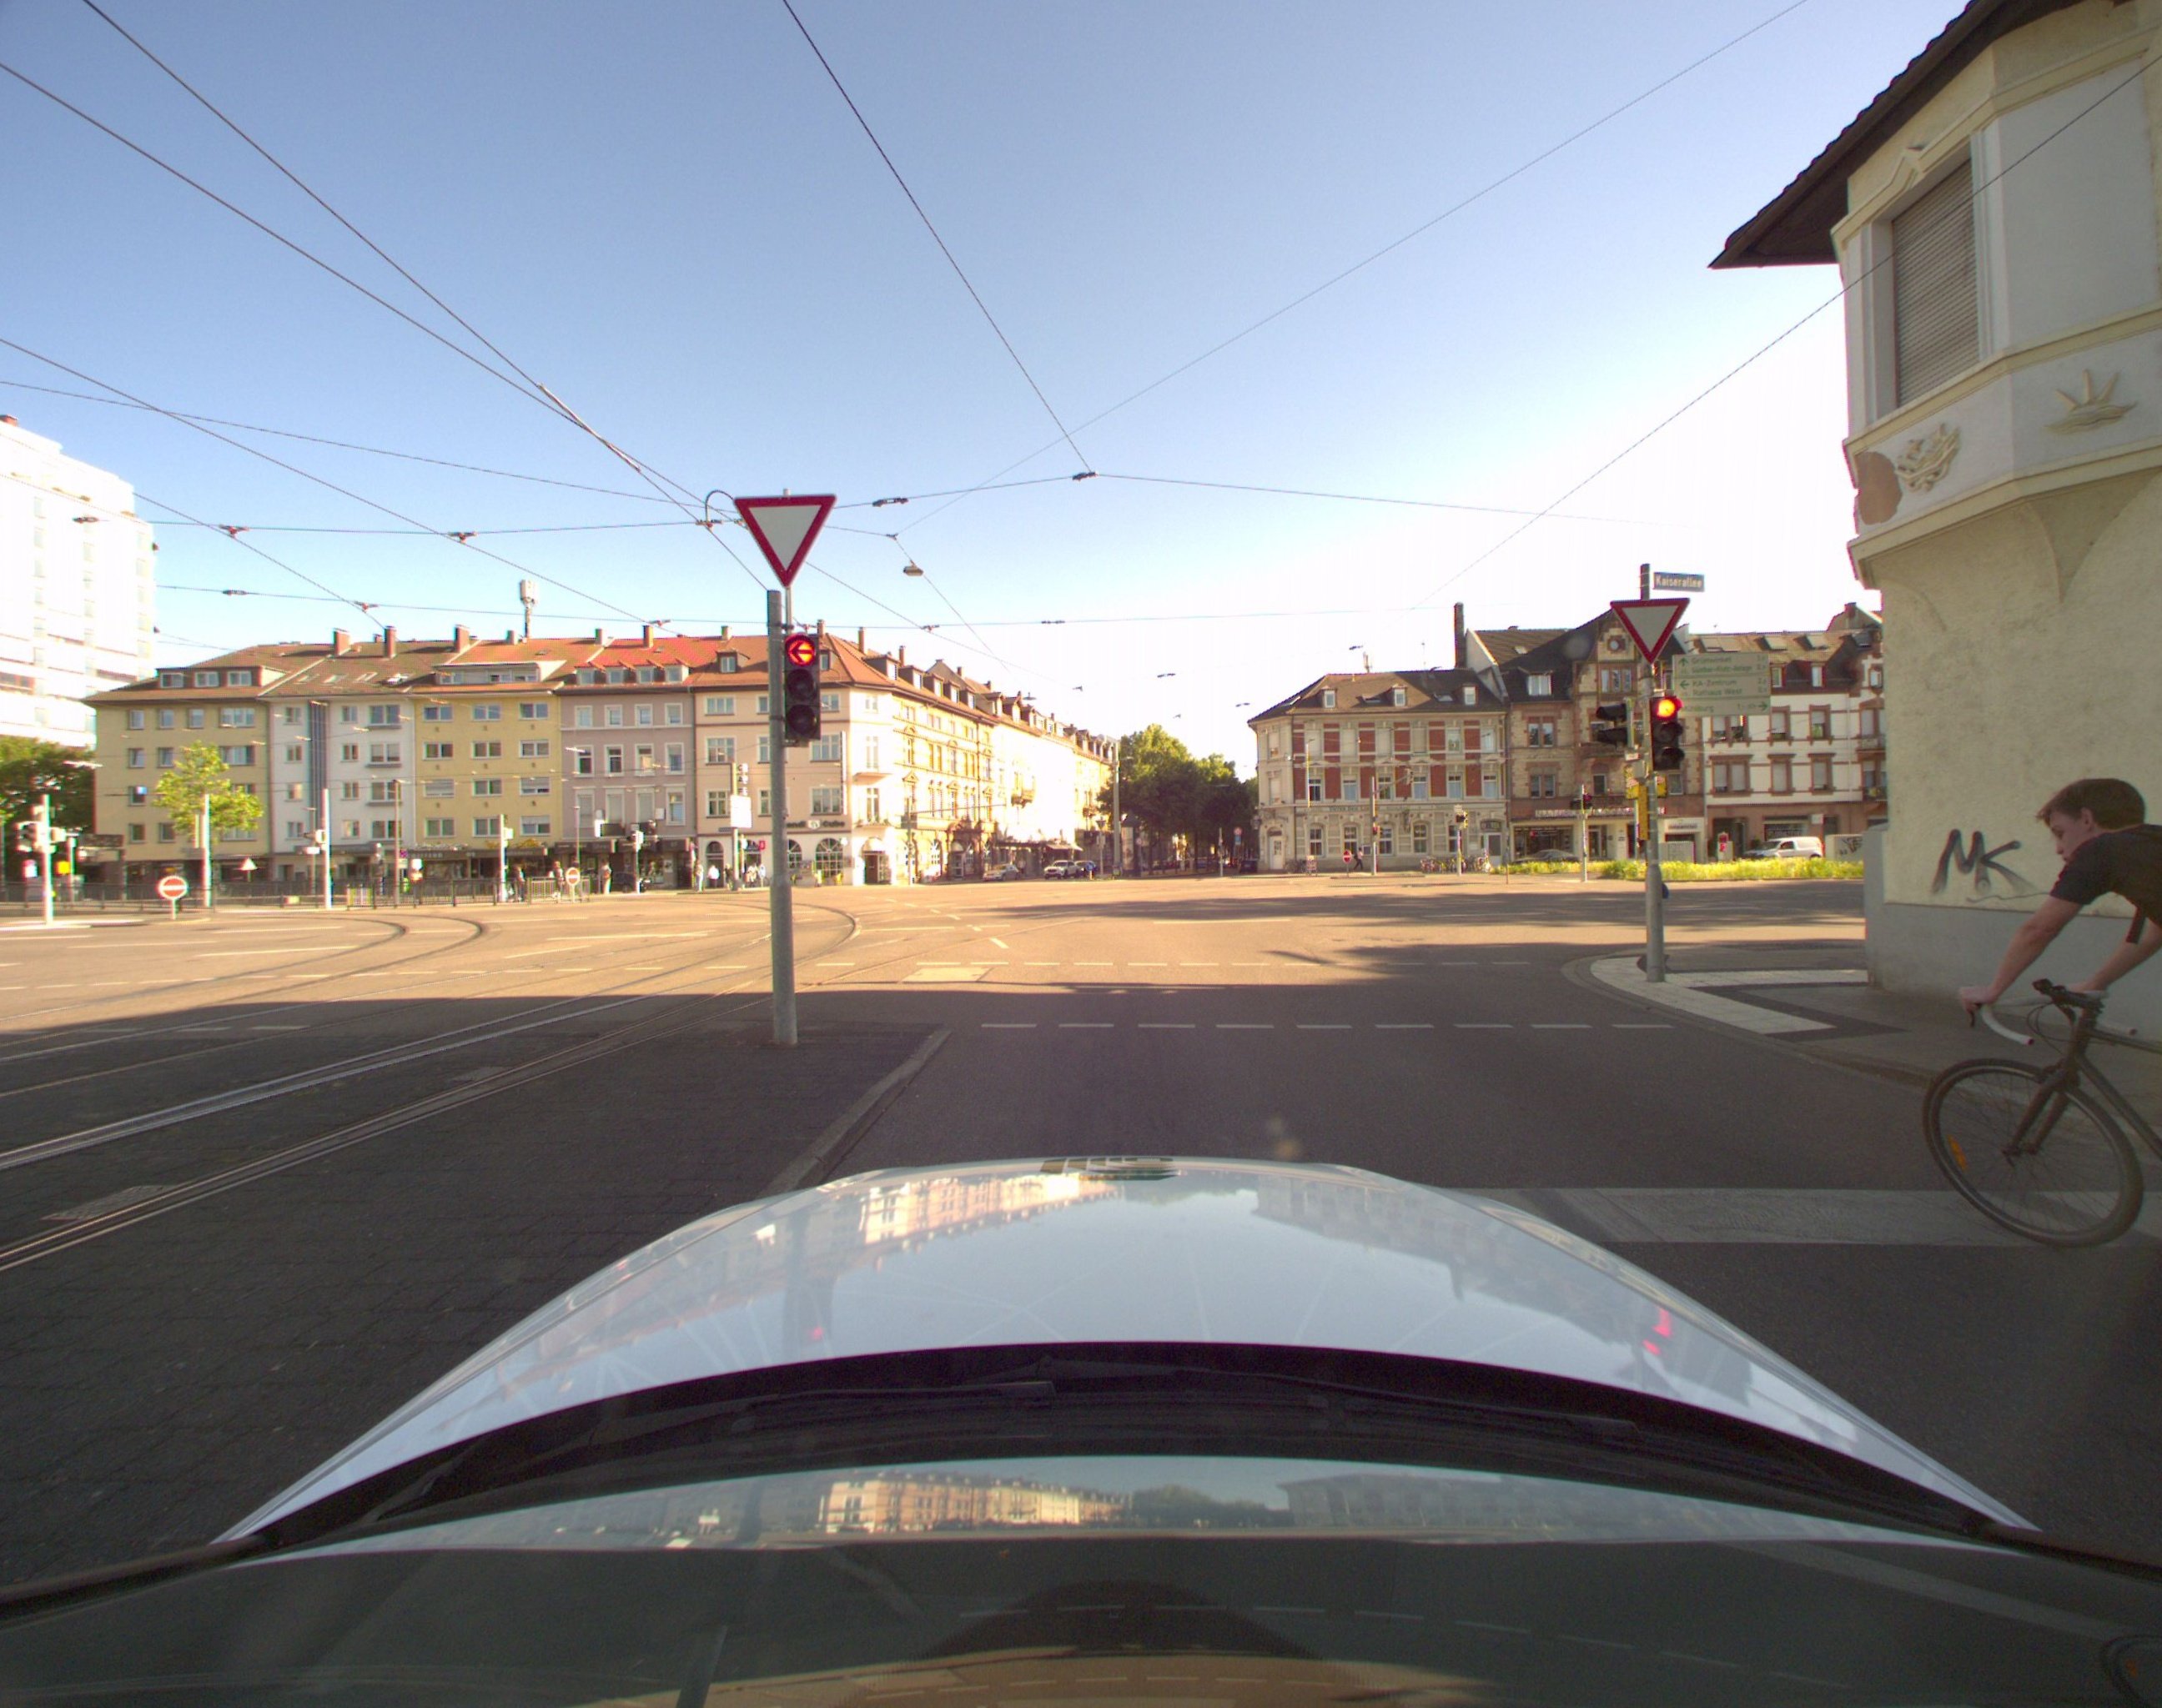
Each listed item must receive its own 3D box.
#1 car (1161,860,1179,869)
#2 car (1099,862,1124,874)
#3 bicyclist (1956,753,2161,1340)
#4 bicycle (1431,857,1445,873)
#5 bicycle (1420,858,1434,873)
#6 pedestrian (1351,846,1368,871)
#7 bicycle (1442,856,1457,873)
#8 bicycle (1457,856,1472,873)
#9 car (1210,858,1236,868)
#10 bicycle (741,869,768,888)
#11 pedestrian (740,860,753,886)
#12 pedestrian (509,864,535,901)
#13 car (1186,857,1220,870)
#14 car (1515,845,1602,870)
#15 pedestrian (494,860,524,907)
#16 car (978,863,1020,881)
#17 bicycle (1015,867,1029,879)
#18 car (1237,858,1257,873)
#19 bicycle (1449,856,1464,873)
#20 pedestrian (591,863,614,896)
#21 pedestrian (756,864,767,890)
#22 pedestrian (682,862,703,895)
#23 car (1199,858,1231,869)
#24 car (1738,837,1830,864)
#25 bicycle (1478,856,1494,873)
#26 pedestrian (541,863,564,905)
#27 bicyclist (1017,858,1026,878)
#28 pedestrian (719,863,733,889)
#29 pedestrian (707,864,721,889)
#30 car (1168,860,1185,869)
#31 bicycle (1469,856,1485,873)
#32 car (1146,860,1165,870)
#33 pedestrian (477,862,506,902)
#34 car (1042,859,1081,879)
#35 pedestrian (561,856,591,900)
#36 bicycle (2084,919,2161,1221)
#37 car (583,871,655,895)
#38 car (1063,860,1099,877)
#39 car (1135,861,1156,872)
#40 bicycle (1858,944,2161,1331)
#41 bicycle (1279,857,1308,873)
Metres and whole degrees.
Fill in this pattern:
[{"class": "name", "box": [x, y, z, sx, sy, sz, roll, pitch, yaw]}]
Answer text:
[{"class": "car", "box": [14.332, 1.712, 131.261, 1.977, 1.404, 4.189, -1, 0, 18]}, {"class": "car", "box": [3.835, 1.714, 102.176, 1.977, 1.404, 4.189, -1, 0, 18]}, {"class": "bicyclist", "box": [3.563, 0.575, 2.501, 0.649, 1.767, 0.995, -1, 0, 2]}, {"class": "bicycle", "box": [23.163, 0.722, 52.876, 0.483, 1.020, 1.789, -1, 0, 12]}, {"class": "bicycle", "box": [22.486, 0.732, 52.979, 0.483, 0.914, 1.789, -1, 0, 12]}, {"class": "pedestrian", "box": [19.311, 0.317, 56.393, 1.029, 1.712, 0.631, -1, -1, 10]}, {"class": "bicycle", "box": [23.858, 0.684, 52.757, 0.483, 1.020, 1.789, -1, 0, 12]}, {"class": "bicycle", "box": [24.821, 0.676, 52.716, 0.483, 1.020, 1.789, -1, 0, 12]}, {"class": "car", "box": [19.383, 1.216, 111.191, 3.409, 1.239, 1.582, -1, 0, 13]}, {"class": "bicycle", "box": [-23.090, 1.732, 57.614, 1.714, 1.276, 0.385, -1, 0, -16]}, {"class": "pedestrian", "box": [-21.750, 1.224, 52.906, 0.744, 1.682, 0.623, -1, 0, -23]}, {"class": "pedestrian", "box": [-24.388, 1.252, 35.524, 0.696, 1.581, 0.560, -1, 0, 1]}, {"class": "car", "box": [14.965, 1.158, 99.509, 3.959, 1.454, 1.687, -1, 0, 13]}, {"class": "car", "box": [27.868, 0.211, 47.642, 4.044, 1.300, 1.723, -1, 0, 2]}, {"class": "pedestrian", "box": [-23.334, 1.199, 33.246, 0.625, 1.850, 0.778, -1, 0, 1]}, {"class": "car", "box": [-6.755, 1.477, 67.364, 1.977, 1.361, 3.836, -1, 0, 18]}, {"class": "bicycle", "box": [-4.759, 1.531, 65.569, 0.650, 1.000, 1.671, -1, -1, 14]}, {"class": "car", "box": [16.803, 1.133, 82.294, 1.742, 1.420, 4.016, -1, 0, 14]}, {"class": "bicycle", "box": [24.318, 0.681, 52.807, 0.483, 1.020, 1.789, -1, 0, 12]}, {"class": "pedestrian", "box": [-24.901, 1.305, 42.380, 0.764, 1.682, 0.628, -1, 0, 1]}, {"class": "pedestrian", "box": [-15.786, 1.133, 40.221, 0.364, 1.253, 0.449, -1, 0, -10]}, {"class": "pedestrian", "box": [-20.120, 1.273, 42.212, 0.738, 1.682, 0.628, -1, 0, 1]}, {"class": "car", "box": [17.338, 1.228, 105.163, 3.959, 1.288, 1.700, -1, 0, 13]}, {"class": "car", "box": [45.295, -0.244, 52.548, 4.239, 1.622, 1.999, -1, 0, -1]}, {"class": "bicycle", "box": [26.337, 0.667, 52.920, 0.483, 1.020, 1.789, -1, 0, 12]}, {"class": "pedestrian", "box": [-22.733, 1.291, 35.050, 0.558, 1.786, 0.560, -1, 0, 1]}, {"class": "bicyclist", "box": [-4.765, 1.094, 65.471, 0.486, 1.601, 0.668, -1, 0, 12]}, {"class": "pedestrian", "box": [-23.071, 1.408, 52.932, 0.744, 1.682, 0.623, -1, 0, -23]}, {"class": "pedestrian", "box": [-25.765, 1.582, 57.186, 0.740, 1.682, 0.626, -1, 0, -10]}, {"class": "car", "box": [16.031, 1.742, 136.420, 1.977, 1.404, 4.189, -1, 0, 18]}, {"class": "bicycle", "box": [25.632, 0.671, 52.765, 0.483, 1.020, 1.789, -1, 0, 12]}, {"class": "car", "box": [11.202, 1.692, 122.502, 1.977, 1.404, 4.189, -1, 0, 18]}, {"class": "pedestrian", "box": [-24.267, 1.142, 33.520, 0.738, 1.635, 0.572, -1, 0, 1]}, {"class": "car", "box": [-1.586, 1.218, 67.670, 1.977, 1.516, 4.189, -1, 0, 18]}, {"class": "pedestrian", "box": [-21.290, 1.014, 34.327, 0.764, 1.829, 0.723, -1, 0, 1]}, {"class": "bicycle", "box": [4.508, 0.856, 2.489, 0.568, 1.165, 1.890, -1, 0, 2]}, {"class": "car", "box": [-30.344, 1.898, 53.514, 3.711, 1.491, 1.820, 0, -1, 4]}, {"class": "car", "box": [0.034, 1.312, 73.807, 1.977, 1.404, 4.189, -1, 0, 18]}, {"class": "car", "box": [9.248, 1.816, 116.824, 1.977, 1.404, 4.189, -1, 0, 18]}, {"class": "bicycle", "box": [3.564, 0.917, 2.503, 0.568, 1.058, 1.890, -1, 0, 2]}, {"class": "bicycle", "box": [14.916, 0.750, 57.141, 1.940, 1.054, 0.717, -1, 0, 11]}]
